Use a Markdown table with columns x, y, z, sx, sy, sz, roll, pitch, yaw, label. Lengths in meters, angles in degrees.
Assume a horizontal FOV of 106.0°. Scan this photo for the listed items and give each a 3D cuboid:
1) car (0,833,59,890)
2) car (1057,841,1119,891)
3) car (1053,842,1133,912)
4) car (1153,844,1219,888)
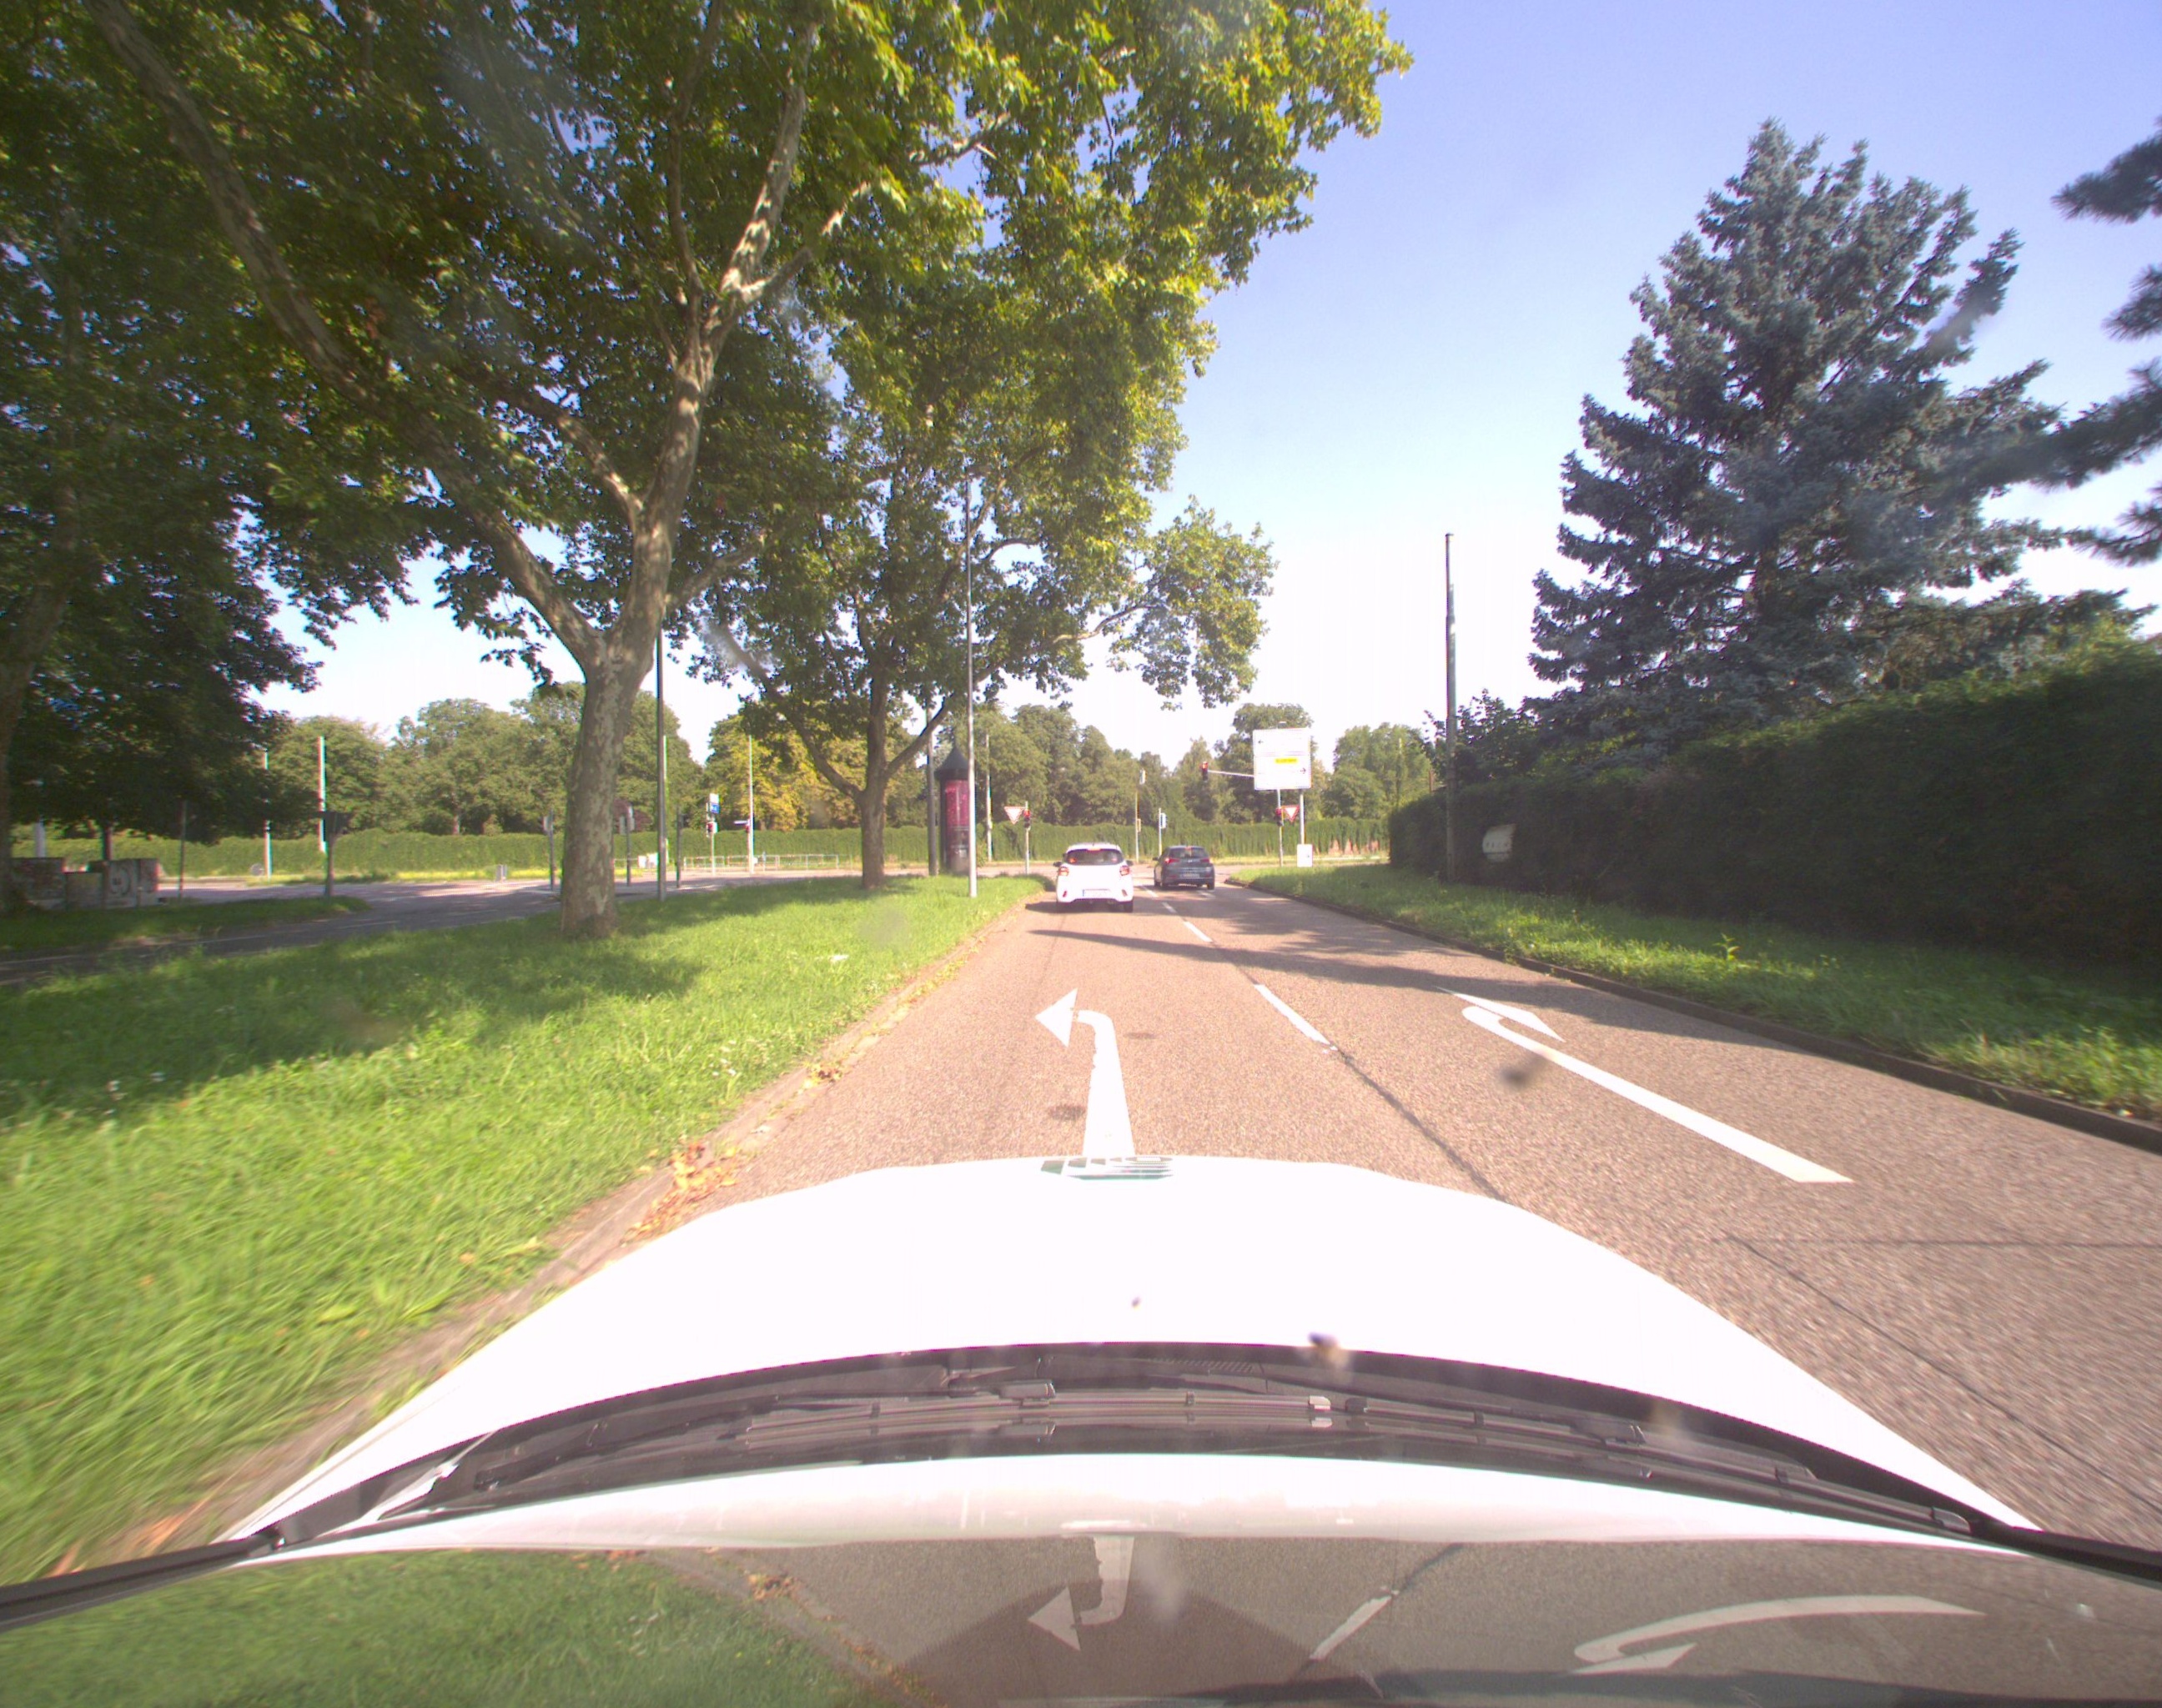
| x | y | z | sx | sy | sz | roll | pitch | yaw | label |
| --- | --- | --- | --- | --- | --- | --- | --- | --- | --- |
| -43.655 | 0.321 | 31.454 | 2.026 | 2.263 | 5.116 | -1 | 1 | -4 | car |
| 0.297 | 0.343 | 26.304 | 1.679 | 1.462 | 3.856 | 0 | 1 | 5 | car |
| 0.340 | 0.473 | 19.150 | 1.681 | 1.462 | 4.003 | -1 | 1 | 2 | car |
| 3.506 | 0.361 | 27.859 | 1.791 | 1.401 | 4.001 | -1 | 1 | 1 | car |
